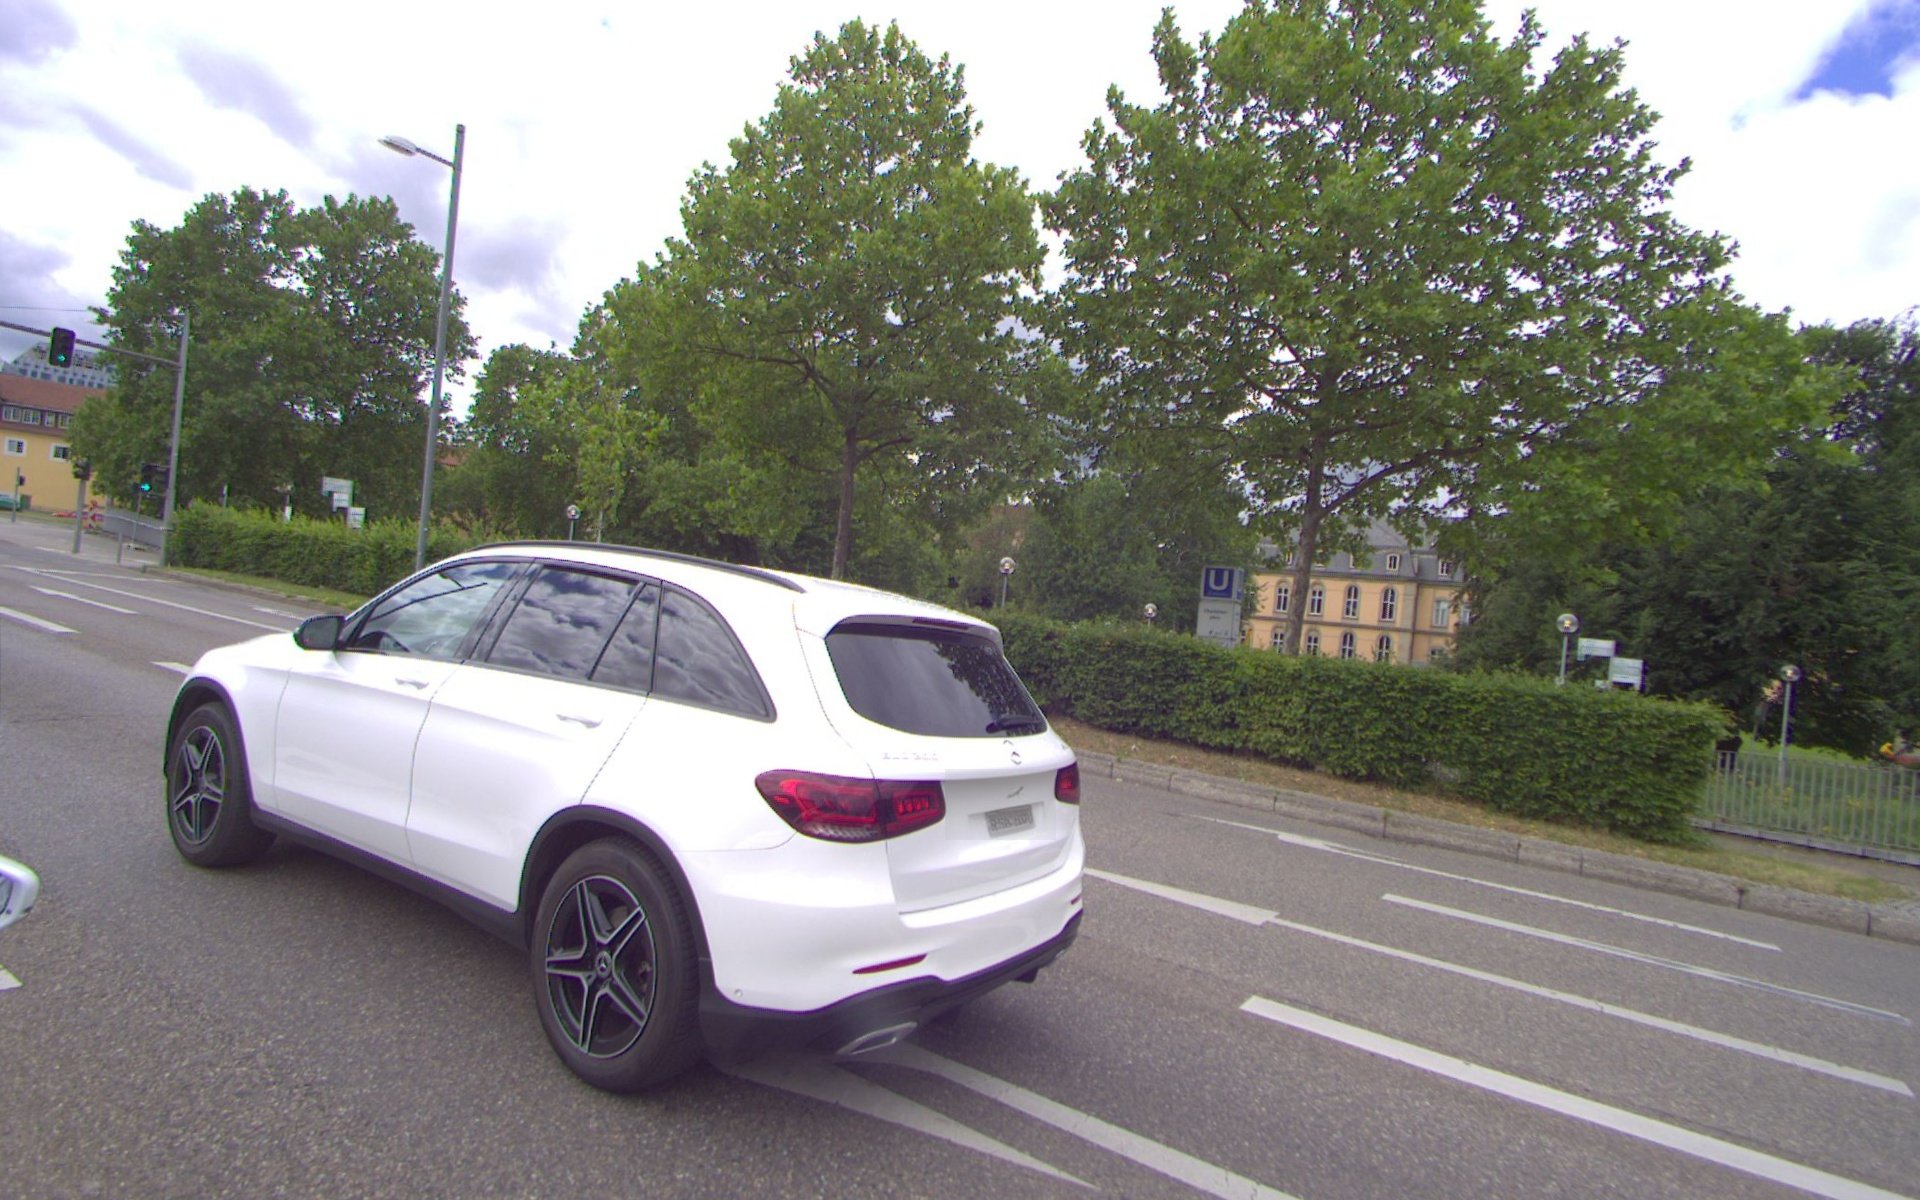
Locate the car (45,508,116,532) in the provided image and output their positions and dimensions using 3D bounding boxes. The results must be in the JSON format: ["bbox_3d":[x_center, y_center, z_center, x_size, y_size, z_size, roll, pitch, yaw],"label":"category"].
[{"bbox_3d":[-82.003,-7.404,93.844,4.637,1.437,1.587,8,-1,-26],"label":"car"}]

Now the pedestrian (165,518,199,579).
[{"bbox_3d":[-23.941,-1.597,30.956,0.610,1.785,0.479,7,0,29],"label":"pedestrian"}]

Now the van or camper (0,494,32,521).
[{"bbox_3d":[-88.281,-8.718,90.975,5.945,2.037,2.009,8,-1,-23],"label":"van or camper"}]

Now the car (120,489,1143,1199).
[{"bbox_3d":[-1.644,0.603,4.436,4.307,1.667,1.822,7,-1,32],"label":"car"}]
